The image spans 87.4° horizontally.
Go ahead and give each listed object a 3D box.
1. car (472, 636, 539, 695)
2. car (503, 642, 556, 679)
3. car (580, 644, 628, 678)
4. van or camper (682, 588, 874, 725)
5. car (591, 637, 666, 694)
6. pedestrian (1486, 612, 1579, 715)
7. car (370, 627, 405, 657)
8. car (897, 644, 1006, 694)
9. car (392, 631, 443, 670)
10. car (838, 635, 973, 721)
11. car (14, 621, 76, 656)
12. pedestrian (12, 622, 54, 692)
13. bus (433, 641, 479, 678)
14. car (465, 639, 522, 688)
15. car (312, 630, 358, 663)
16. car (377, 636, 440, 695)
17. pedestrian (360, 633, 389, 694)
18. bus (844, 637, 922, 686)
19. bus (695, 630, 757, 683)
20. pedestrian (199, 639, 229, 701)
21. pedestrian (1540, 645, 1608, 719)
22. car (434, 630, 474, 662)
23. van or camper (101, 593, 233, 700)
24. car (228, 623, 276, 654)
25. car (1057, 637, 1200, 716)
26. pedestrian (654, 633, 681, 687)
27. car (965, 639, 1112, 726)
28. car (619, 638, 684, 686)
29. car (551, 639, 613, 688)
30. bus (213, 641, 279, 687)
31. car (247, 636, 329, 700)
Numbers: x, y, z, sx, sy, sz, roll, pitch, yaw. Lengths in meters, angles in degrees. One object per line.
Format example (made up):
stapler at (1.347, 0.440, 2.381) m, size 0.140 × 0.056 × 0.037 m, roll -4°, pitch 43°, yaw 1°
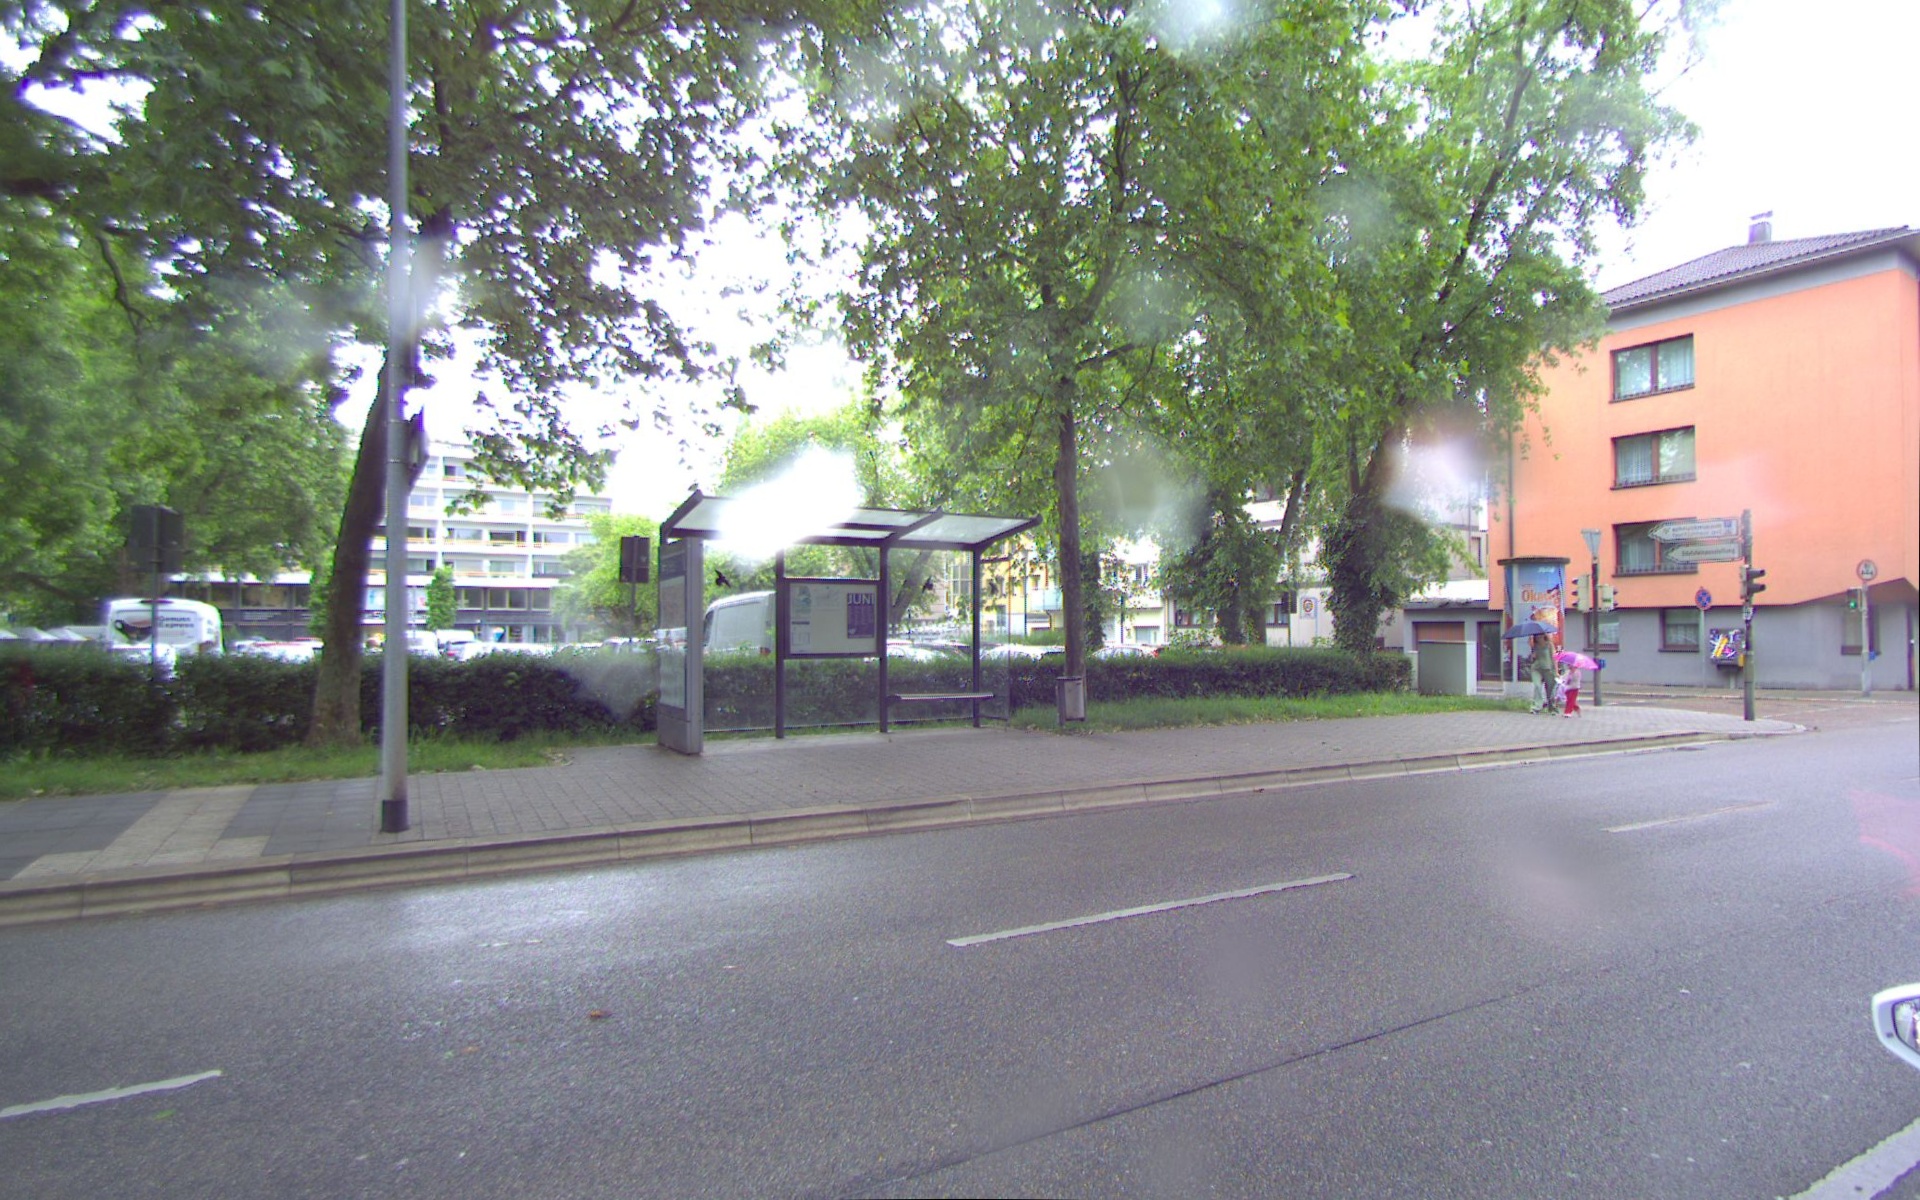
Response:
car at (-12.095, 1.711, 26.648) m, size 1.375 × 1.454 × 3.248 m, roll 1°, pitch -3°, yaw -29°
car at (-17.700, 2.454, 41.238) m, size 1.587 × 1.447 × 3.293 m, roll 2°, pitch -3°, yaw -30°
car at (-15.201, 2.579, 42.829) m, size 1.332 × 1.401 × 3.141 m, roll 2°, pitch -3°, yaw -30°
van or camper at (-3.503, 1.019, 18.649) m, size 2.026 × 2.198 × 4.458 m, roll 2°, pitch -3°, yaw -32°
car at (-9.116, 1.759, 27.504) m, size 1.375 × 1.454 × 3.248 m, roll 1°, pitch -3°, yaw -29°
pedestrian at (10.364, 1.118, 18.207) m, size 1.195 × 1.765 × 0.987 m, roll 1°, pitch 0°, yaw -30°
car at (-33.047, 2.400, 57.916) m, size 1.622 × 1.544 × 3.174 m, roll 1°, pitch 1°, yaw -32°
car at (-0.344, 2.215, 33.212) m, size 1.799 × 1.536 × 3.965 m, roll 2°, pitch -3°, yaw -33°
car at (-20.905, 1.946, 38.688) m, size 1.587 × 1.447 × 3.293 m, roll 2°, pitch -3°, yaw -30°
car at (-1.216, 1.575, 21.187) m, size 1.492 × 1.544 × 3.174 m, roll 2°, pitch 0°, yaw -32°
car at (-40.728, 1.695, 44.768) m, size 1.412 × 1.447 × 2.941 m, roll 1°, pitch 0°, yaw -30°
pedestrian at (-16.734, 1.020, 18.142) m, size 0.481 × 1.229 × 0.434 m, roll 2°, pitch 0°, yaw -37°
bus at (-22.376, 2.610, 44.571) m, size 1.587 × 1.559 × 3.403 m, roll 2°, pitch -3°, yaw -30°
car at (-14.547, 1.949, 31.280) m, size 1.375 × 1.454 × 3.248 m, roll 1°, pitch -3°, yaw -29°
car at (-31.425, 2.312, 50.585) m, size 1.818 × 1.444 × 3.799 m, roll 2°, pitch 0°, yaw -31°
car at (-14.738, 1.721, 26.851) m, size 1.375 × 1.454 × 3.248 m, roll 1°, pitch -3°, yaw -29°
pedestrian at (-12.159, 1.319, 20.853) m, size 0.462 × 1.229 × 0.434 m, roll 2°, pitch 0°, yaw -37°
bus at (-2.433, 1.896, 31.489) m, size 1.364 × 1.451 × 2.777 m, roll 2°, pitch -3°, yaw -30°
bus at (-7.834, 1.865, 33.523) m, size 1.363 × 1.698 × 2.779 m, roll 1°, pitch -3°, yaw -28°
pedestrian at (-15.382, 1.430, 20.709) m, size 0.462 × 1.229 × 0.434 m, roll 2°, pitch 0°, yaw -37°
pedestrian at (10.478, 1.378, 17.145) m, size 0.817 × 1.190 × 0.681 m, roll 1°, pitch 0°, yaw -30°
car at (-27.165, 2.457, 53.925) m, size 1.622 × 1.544 × 3.174 m, roll 2°, pitch 0°, yaw -32°
van or camper at (-20.703, 1.217, 26.423) m, size 2.074 × 2.570 × 4.392 m, roll 1°, pitch -3°, yaw -30°
car at (-33.719, 1.857, 47.909) m, size 1.587 × 1.447 × 3.293 m, roll 2°, pitch -3°, yaw -30°
car at (3.800, 1.684, 23.040) m, size 1.492 × 1.544 × 3.174 m, roll 2°, pitch 0°, yaw -32°
pedestrian at (-6.922, 1.413, 23.732) m, size 0.462 × 1.229 × 0.434 m, roll 2°, pitch 0°, yaw -37°
car at (1.579, 1.660, 21.170) m, size 1.492 × 1.544 × 3.174 m, roll 2°, pitch 0°, yaw -32°
car at (-9.998, 1.971, 32.474) m, size 1.375 × 1.454 × 3.248 m, roll 1°, pitch -3°, yaw -29°
car at (-11.962, 1.964, 31.680) m, size 1.375 × 1.454 × 3.248 m, roll 1°, pitch -3°, yaw -29°
bus at (-25.553, 2.271, 36.017) m, size 1.587 × 1.559 × 3.403 m, roll 2°, pitch -3°, yaw -30°
car at (-16.516, 1.638, 24.790) m, size 1.375 × 1.454 × 3.248 m, roll 1°, pitch -3°, yaw -29°
